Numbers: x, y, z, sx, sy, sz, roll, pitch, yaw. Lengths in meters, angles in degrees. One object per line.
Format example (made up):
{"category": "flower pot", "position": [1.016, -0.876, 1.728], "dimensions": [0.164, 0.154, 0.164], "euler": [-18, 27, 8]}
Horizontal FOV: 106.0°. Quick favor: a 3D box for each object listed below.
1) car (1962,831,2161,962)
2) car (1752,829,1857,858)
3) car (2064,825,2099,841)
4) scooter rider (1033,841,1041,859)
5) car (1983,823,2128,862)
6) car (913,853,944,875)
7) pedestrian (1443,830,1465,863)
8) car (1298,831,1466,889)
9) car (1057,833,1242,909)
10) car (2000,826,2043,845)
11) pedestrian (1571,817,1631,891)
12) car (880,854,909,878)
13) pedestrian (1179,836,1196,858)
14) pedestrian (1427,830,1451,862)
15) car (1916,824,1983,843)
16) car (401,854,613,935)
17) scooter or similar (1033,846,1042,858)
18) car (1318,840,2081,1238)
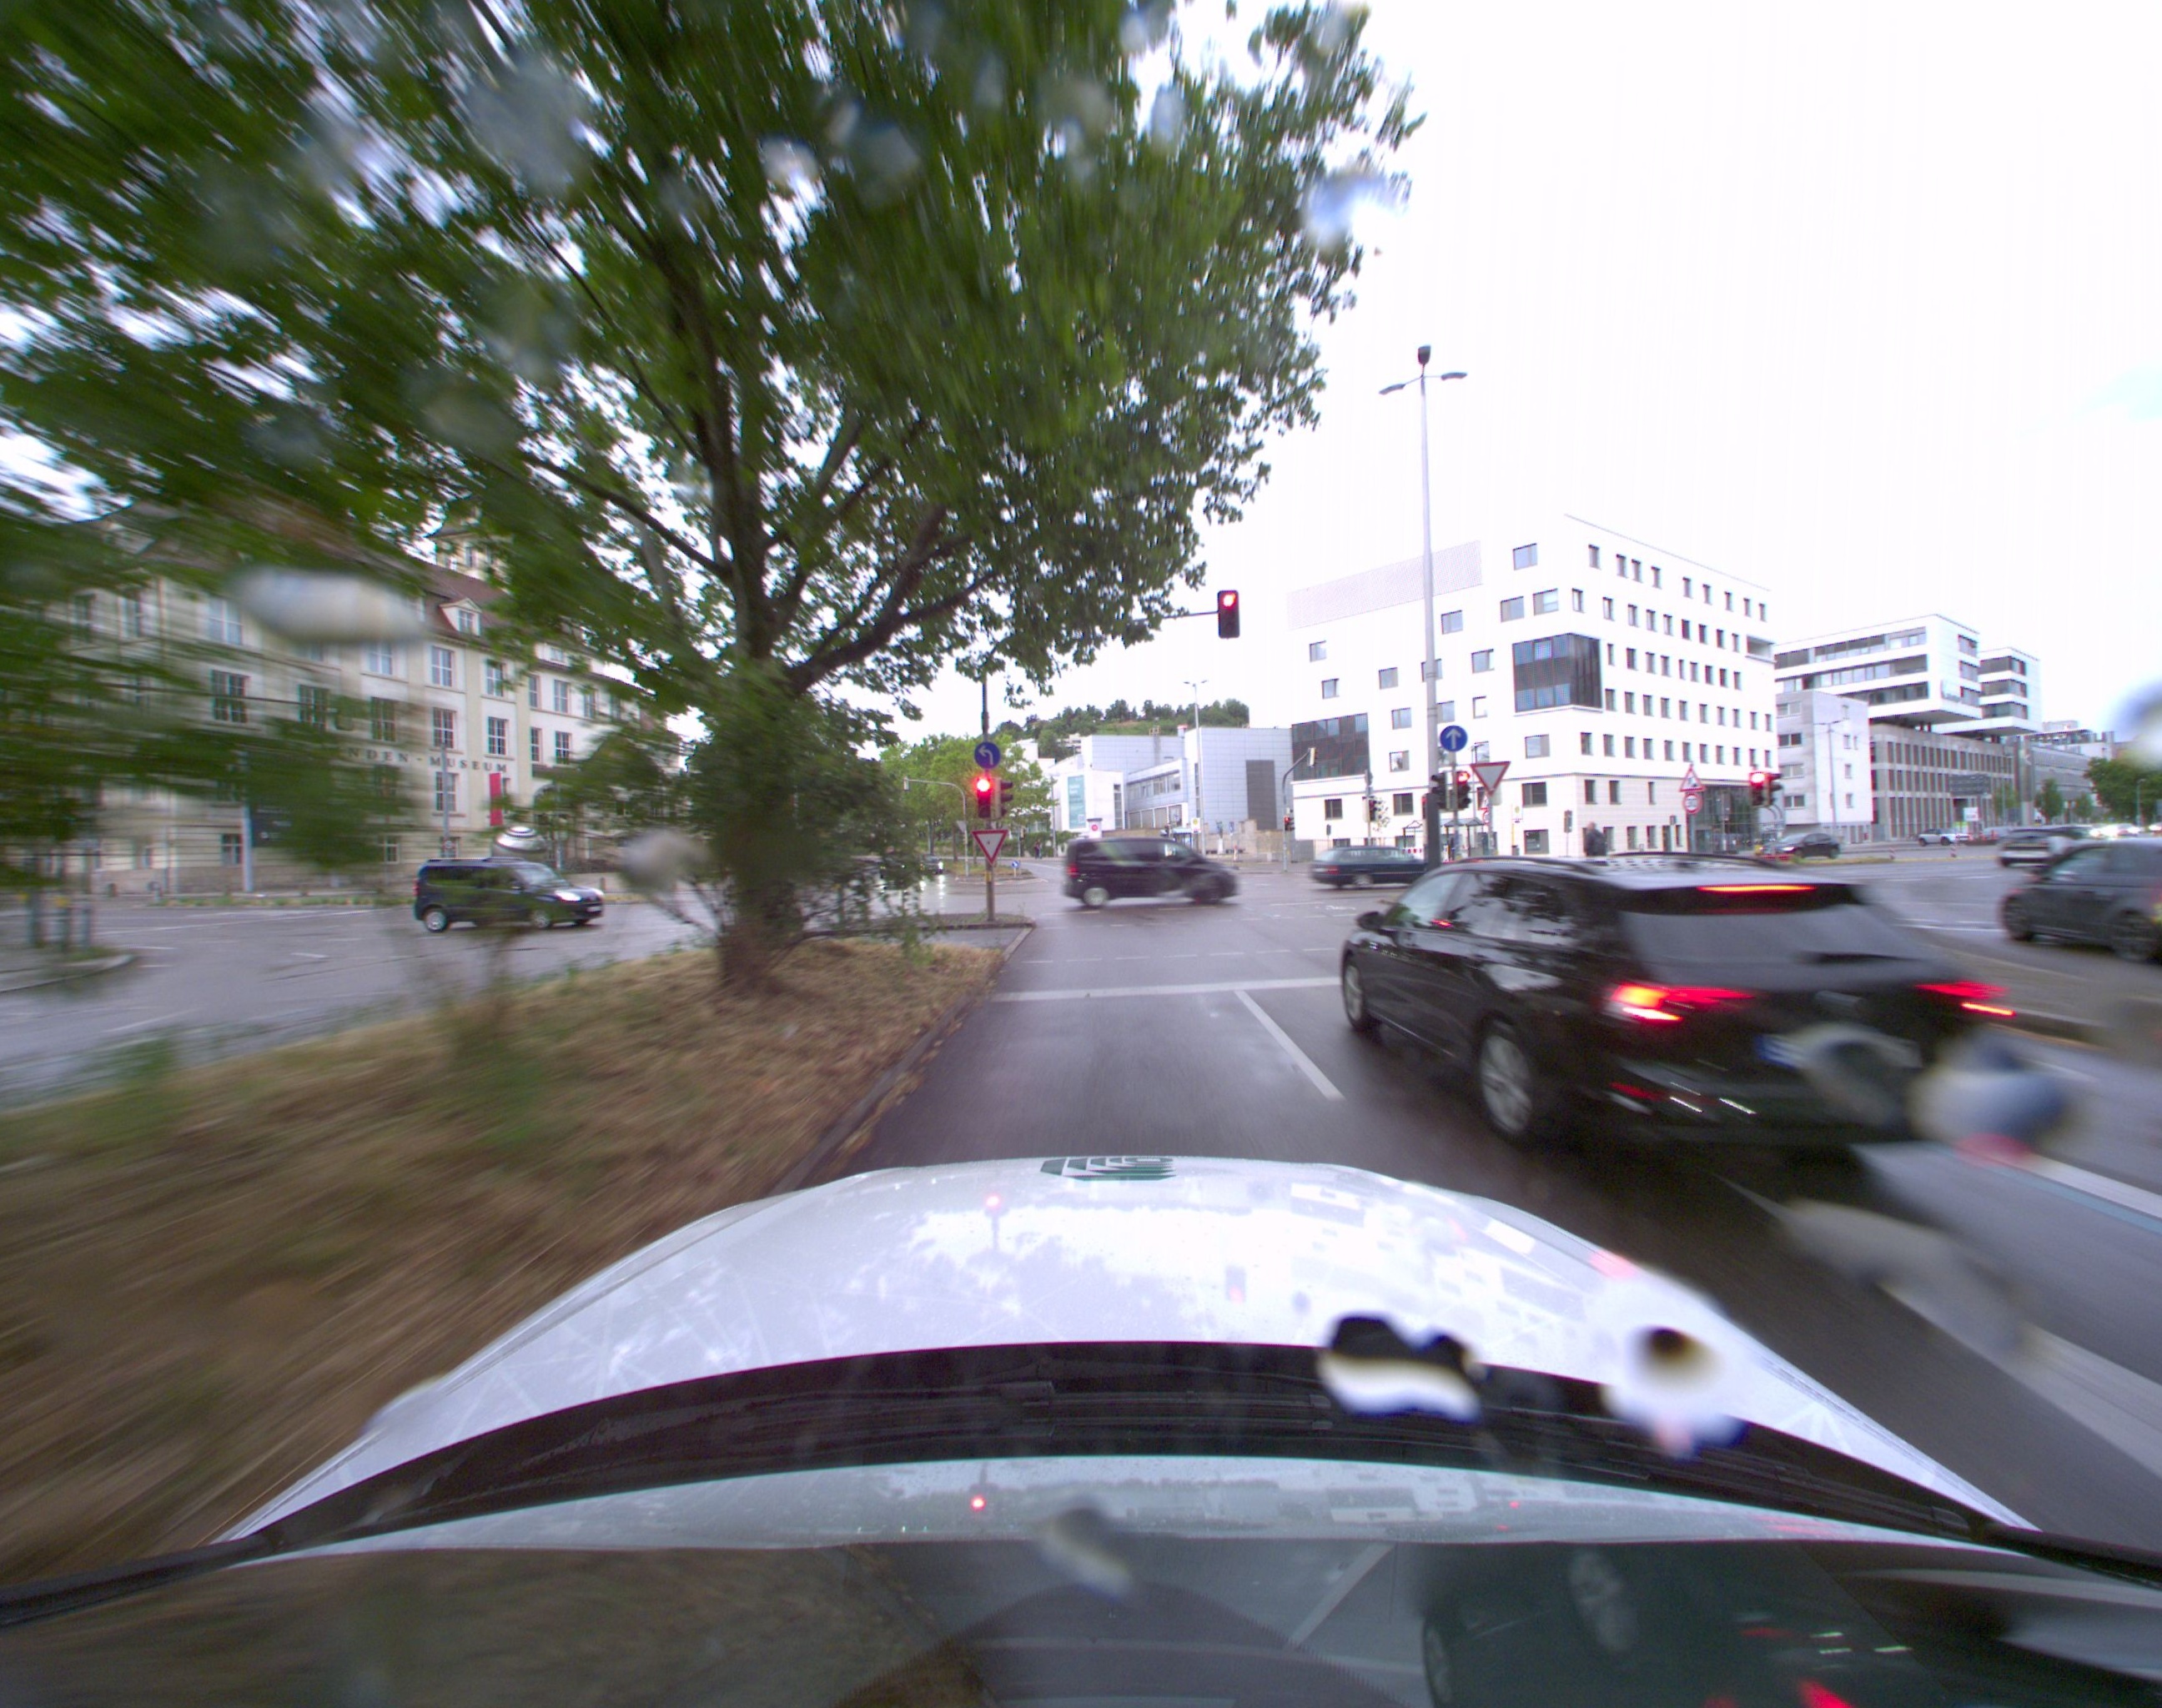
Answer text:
{"category": "car", "position": [13.638, 0.440, 10.531], "dimensions": [1.844, 1.450, 4.025], "euler": [-1, 0, 29]}
{"category": "car", "position": [38.638, -0.554, 43.539], "dimensions": [4.377, 1.378, 1.992], "euler": [-2, 0, -12]}
{"category": "car", "position": [93.521, -2.002, 76.119], "dimensions": [4.409, 1.378, 1.977], "euler": [-2, 0, -38]}
{"category": "scooter rider", "position": [-4.650, -0.460, 86.454], "dimensions": [0.725, 1.883, 0.628], "euler": [0, -1, -18]}
{"category": "car", "position": [37.248, -0.429, 31.181], "dimensions": [3.988, 1.421, 1.861], "euler": [0, -1, -11]}
{"category": "car", "position": [-11.984, 0.723, 63.706], "dimensions": [1.794, 1.584, 3.974], "euler": [-2, 1, -19]}
{"category": "pedestrian", "position": [22.470, -0.443, 49.082], "dimensions": [0.995, 1.935, 0.957], "euler": [-1, -1, 12]}
{"category": "car", "position": [10.167, 0.201, 27.669], "dimensions": [4.953, 1.673, 1.994], "euler": [-2, -1, -9]}
{"category": "car", "position": [1.819, 0.428, 22.553], "dimensions": [4.767, 1.809, 1.995], "euler": [-2, 0, -8]}
{"category": "car", "position": [73.280, -1.437, 63.431], "dimensions": [4.409, 1.378, 1.977], "euler": [-2, 0, -38]}
{"category": "pedestrian", "position": [13.493, 0.008, 21.156], "dimensions": [0.826, 1.892, 1.025], "euler": [0, -1, -6]}
{"category": "car", "position": [-13.715, 0.876, 59.815], "dimensions": [1.871, 1.564, 4.255], "euler": [-3, 1, -15]}
{"category": "pedestrian", "position": [8.734, -0.568, 67.011], "dimensions": [1.253, 1.719, 1.016], "euler": [-1, -1, 1]}
{"category": "pedestrian", "position": [20.749, -0.444, 47.198], "dimensions": [0.951, 1.840, 0.821], "euler": [0, -1, -9]}
{"category": "car", "position": [76.825, -1.792, 72.119], "dimensions": [1.949, 1.557, 4.073], "euler": [0, 0, 9]}
{"category": "car", "position": [-15.139, 1.029, 21.633], "dimensions": [4.279, 1.908, 1.799], "euler": [-2, 1, 2]}
{"category": "scooter or similar", "position": [-4.636, -0.163, 86.426], "dimensions": [0.593, 1.239, 1.305], "euler": [0, -1, -19]}
{"category": "car", "position": [2.994, 0.666, 5.334], "dimensions": [1.664, 1.466, 4.515], "euler": [-2, 1, 2]}
